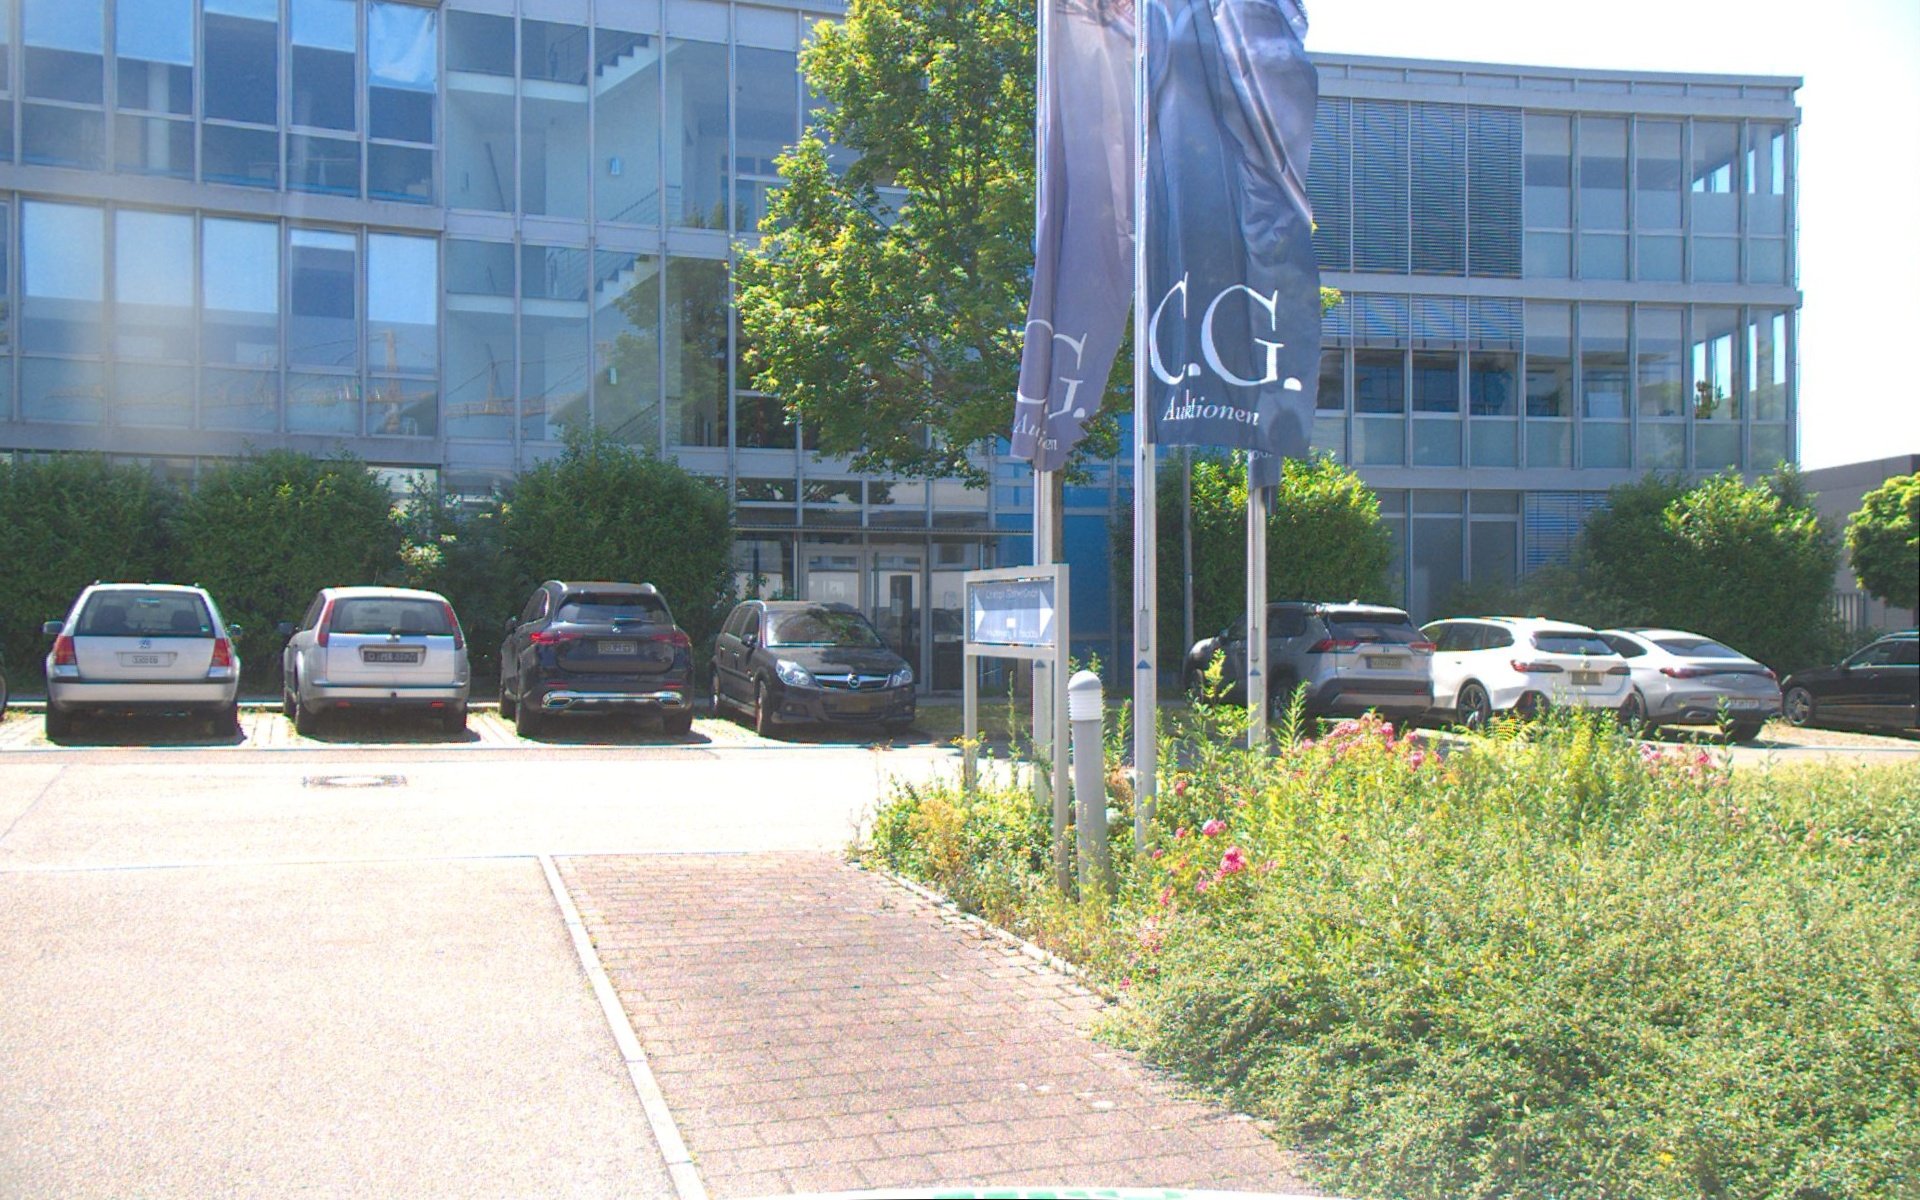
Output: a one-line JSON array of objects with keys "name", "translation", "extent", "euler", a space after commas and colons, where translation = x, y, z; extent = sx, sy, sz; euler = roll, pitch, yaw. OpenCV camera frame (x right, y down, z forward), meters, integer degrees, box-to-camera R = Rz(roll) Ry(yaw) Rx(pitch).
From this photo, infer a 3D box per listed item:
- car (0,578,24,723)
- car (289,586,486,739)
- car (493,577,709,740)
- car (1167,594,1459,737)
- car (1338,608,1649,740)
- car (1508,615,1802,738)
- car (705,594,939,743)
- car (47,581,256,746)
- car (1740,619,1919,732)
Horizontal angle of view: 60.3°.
[{"name": "car", "translation": [-10.258, 0.517, 15.957], "extent": [1.519, 1.474, 3.632], "euler": [2, 0, -20]}, {"name": "car", "translation": [-6.399, 0.616, 18.277], "extent": [1.742, 1.474, 3.627], "euler": [2, 0, -24]}, {"name": "car", "translation": [-4.200, 0.590, 18.877], "extent": [1.898, 1.639, 3.964], "euler": [2, 0, -20]}, {"name": "car", "translation": [4.519, 0.773, 21.891], "extent": [1.792, 1.648, 4.315], "euler": [0, 1, -20]}, {"name": "car", "translation": [7.028, 0.925, 22.298], "extent": [1.710, 1.518, 4.315], "euler": [2, 0, -20]}, {"name": "car", "translation": [9.550, 0.997, 23.155], "extent": [1.704, 1.454, 4.329], "euler": [2, 0, -10]}, {"name": "car", "translation": [-1.754, 0.717, 19.581], "extent": [1.743, 1.508, 4.234], "euler": [0, 1, -20]}, {"name": "car", "translation": [-8.192, 0.577, 16.979], "extent": [1.709, 1.474, 3.627], "euler": [2, 0, -24]}, {"name": "car", "translation": [13.808, 1.093, 24.567], "extent": [1.704, 1.472, 4.537], "euler": [2, 0, -10]}]
